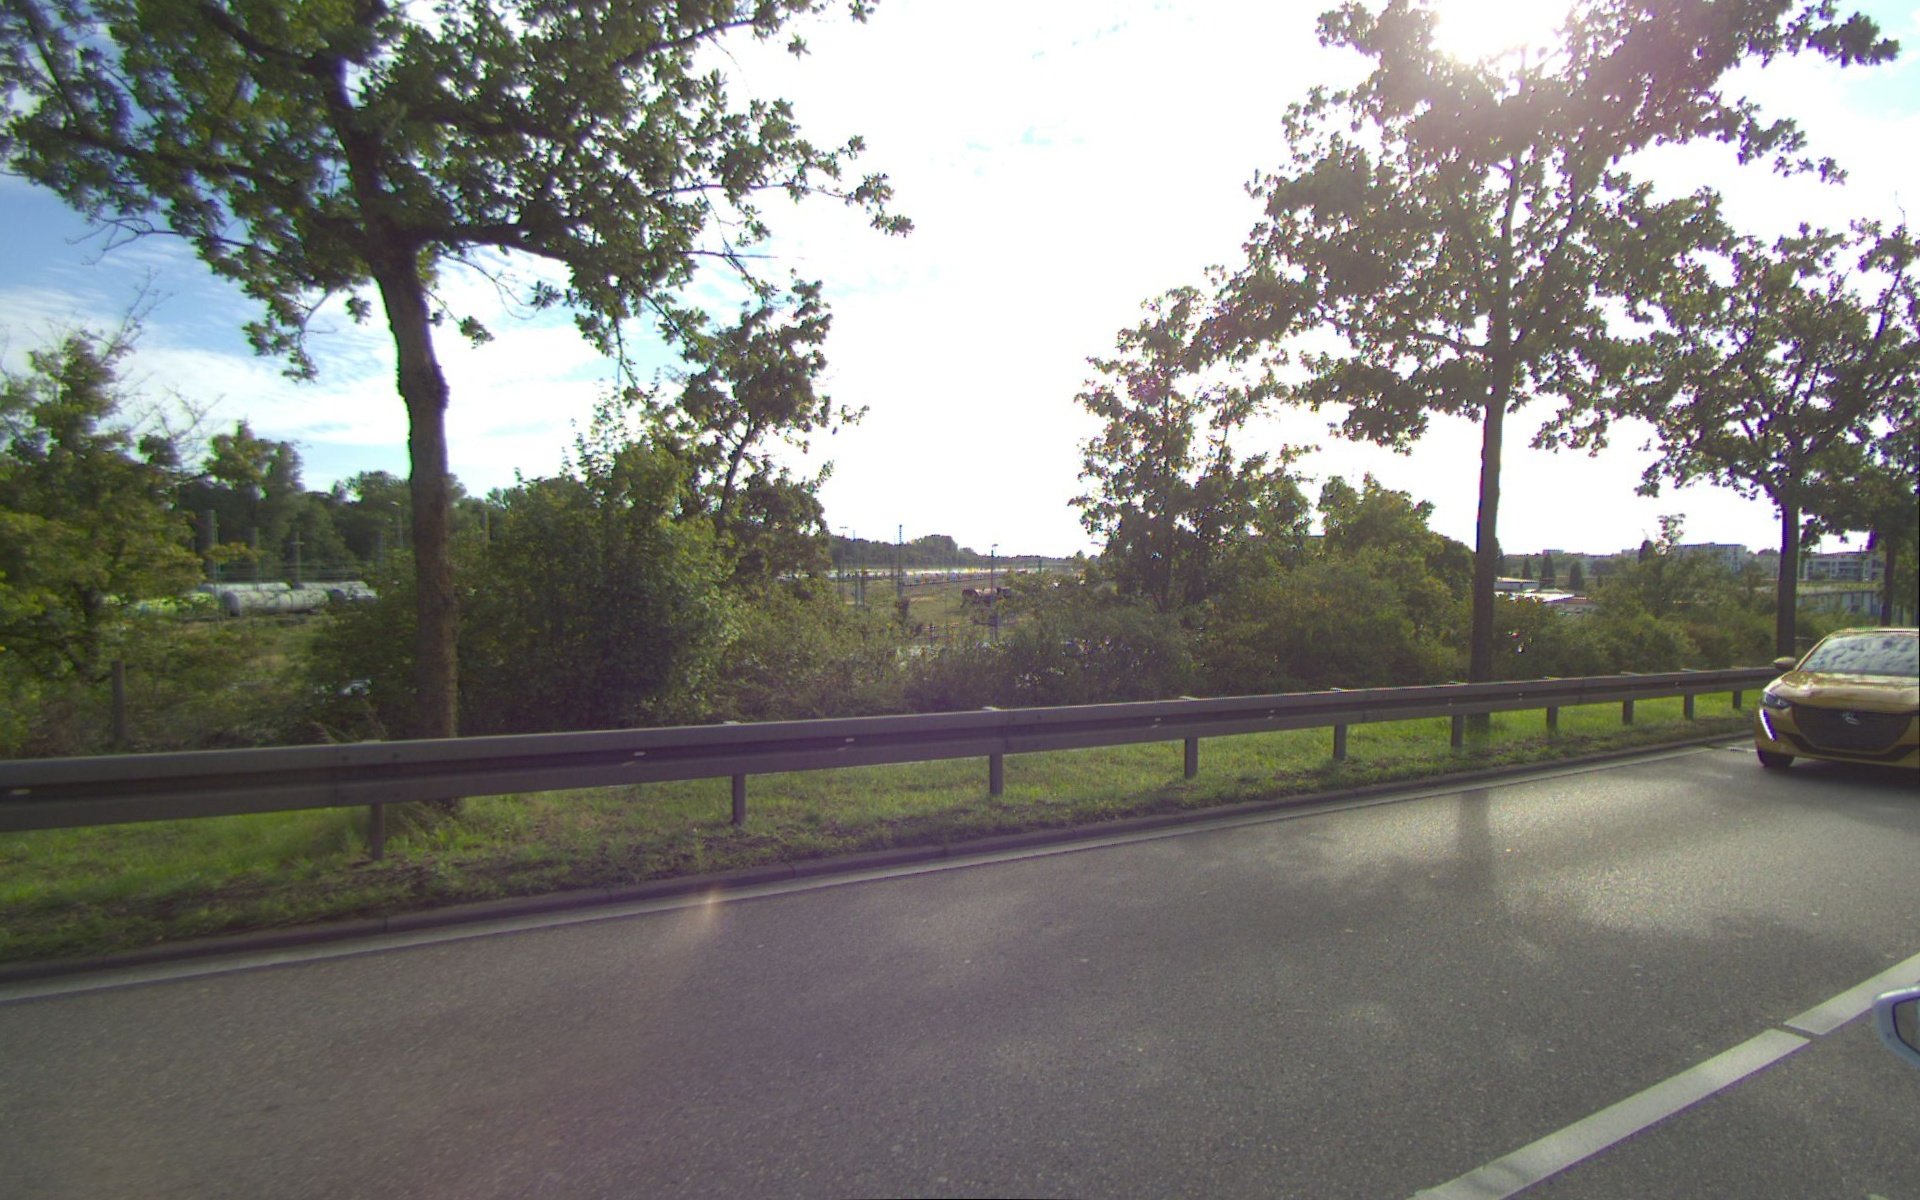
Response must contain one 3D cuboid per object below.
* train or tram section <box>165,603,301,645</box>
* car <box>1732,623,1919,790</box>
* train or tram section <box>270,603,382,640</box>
[{"bbox_3d":[-90.006,2.839,125.103,3.034,4.775,16.758,1,0,7],"label":"train or tram section"},{"bbox_3d":[9.781,0.993,10.458,3.836,1.444,1.787,1,0,-37],"label":"car"},{"bbox_3d":[-87.646,2.878,139.590,3.034,4.775,16.758,1,0,7],"label":"train or tram section"}]
